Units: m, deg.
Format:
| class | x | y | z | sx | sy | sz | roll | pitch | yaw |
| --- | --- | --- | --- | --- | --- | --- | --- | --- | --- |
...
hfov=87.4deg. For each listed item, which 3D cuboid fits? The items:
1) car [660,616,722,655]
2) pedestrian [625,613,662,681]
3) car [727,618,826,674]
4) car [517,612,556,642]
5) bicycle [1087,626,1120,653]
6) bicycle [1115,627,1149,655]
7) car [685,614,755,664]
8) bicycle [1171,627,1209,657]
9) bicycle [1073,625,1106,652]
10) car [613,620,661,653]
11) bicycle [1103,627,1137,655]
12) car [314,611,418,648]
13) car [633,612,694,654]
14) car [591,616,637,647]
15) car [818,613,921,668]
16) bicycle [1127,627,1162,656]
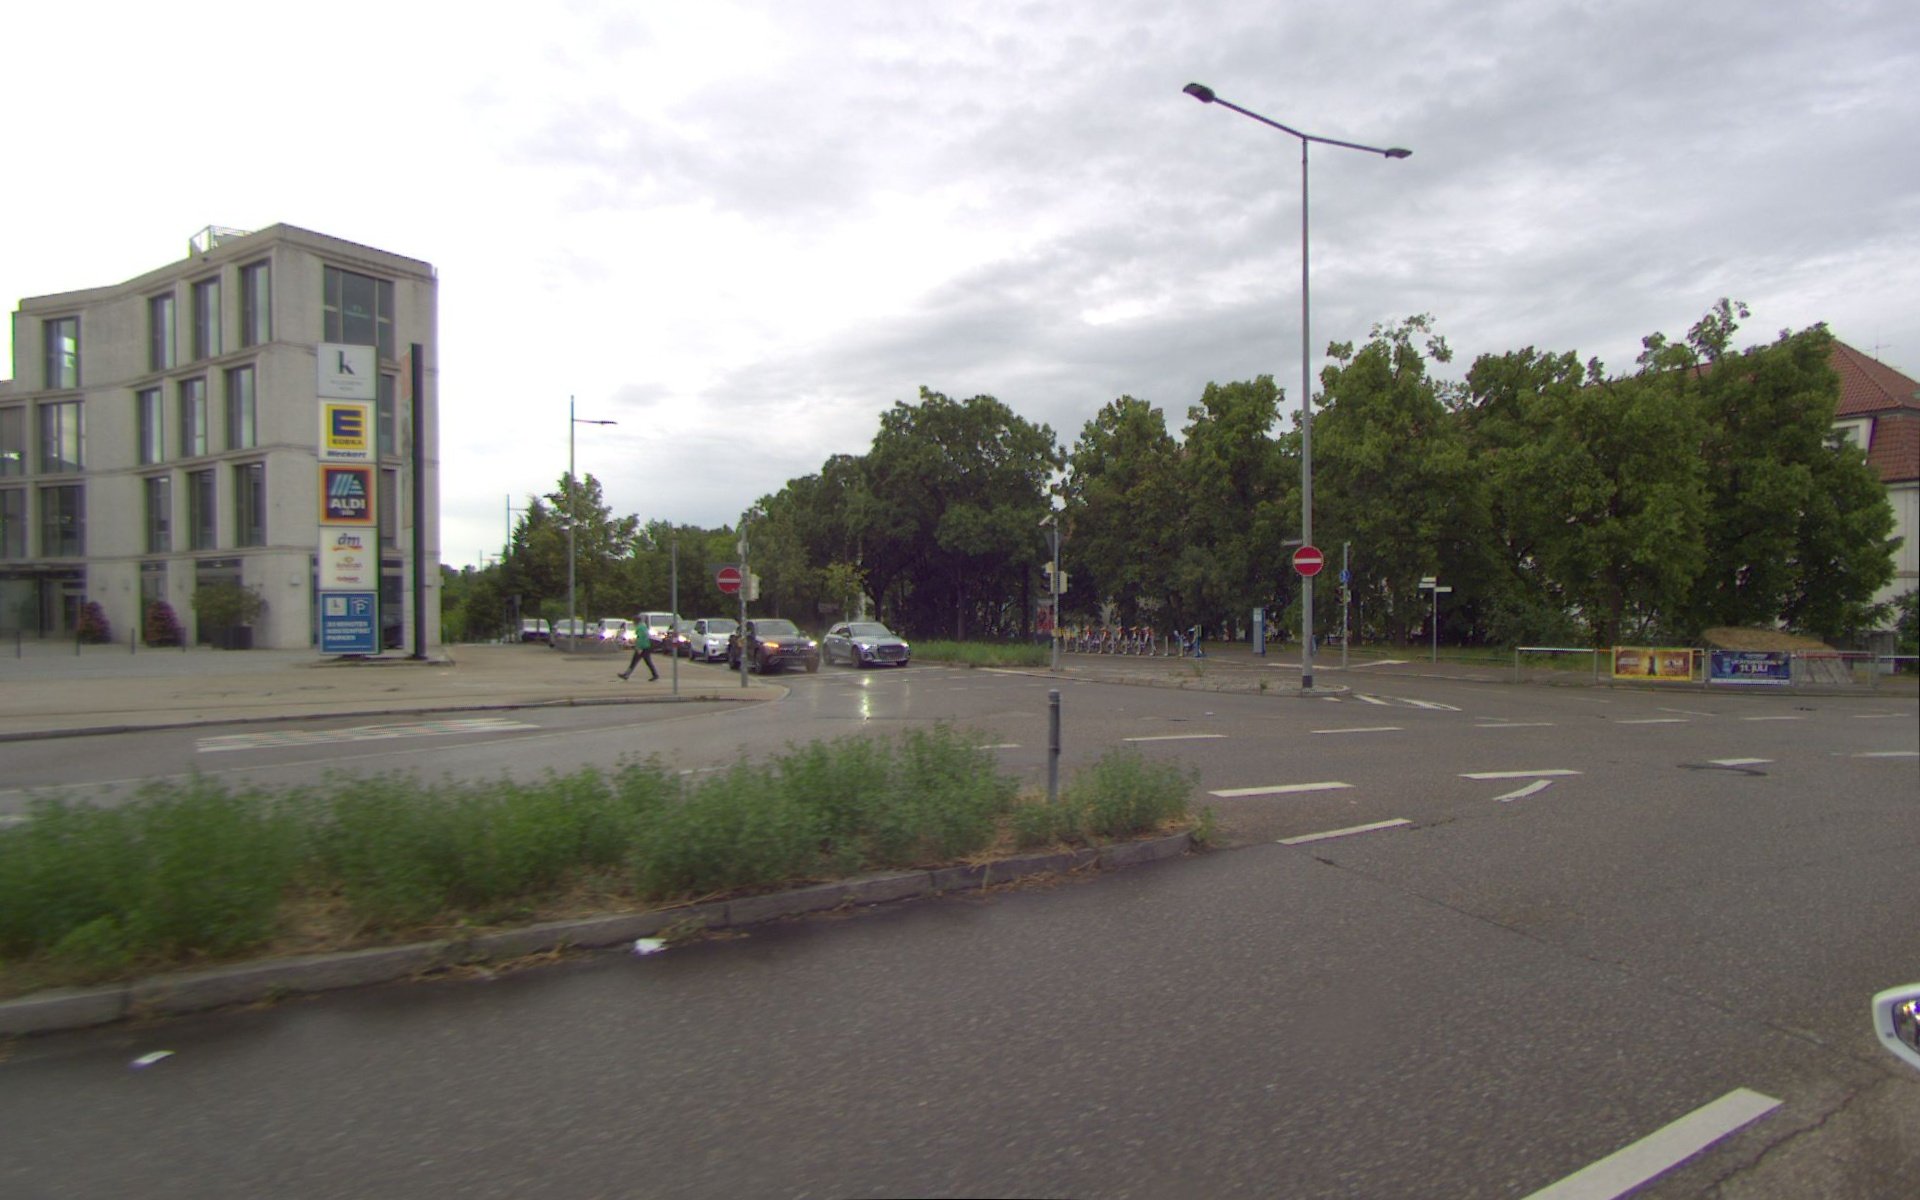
| class | x | y | z | sx | sy | sz | roll | pitch | yaw |
| --- | --- | --- | --- | --- | --- | --- | --- | --- | --- |
| car | -11.434 | 1.469 | 42.543 | 1.699 | 1.480 | 3.721 | -1 | 0 | -29 |
| pedestrian | -8.098 | 1.185 | 25.719 | 0.667 | 1.709 | 0.752 | 1 | -1 | 1 |
| car | -5.838 | 1.385 | 31.612 | 1.809 | 1.540 | 4.031 | -1 | 1 | -30 |
| car | -29.932 | 1.883 | 70.881 | 1.978 | 2.040 | 3.966 | 1 | -1 | -31 |
| bicycle | 6.542 | 1.800 | 45.666 | 1.475 | 1.146 | 0.551 | -3 | 0 | -36 |
| bicycle | 7.554 | 1.801 | 44.048 | 1.475 | 1.146 | 0.551 | -3 | 0 | -36 |
| car | -9.030 | 1.403 | 37.594 | 1.634 | 1.597 | 3.675 | -4 | 2 | -28 |
| bicycle | 9.424 | 1.714 | 41.143 | 1.585 | 1.146 | 0.551 | -3 | 0 | -36 |
| bicycle | 5.995 | 1.788 | 46.463 | 1.475 | 1.146 | 0.551 | -3 | 0 | -36 |
| car | -16.815 | 1.859 | 52.196 | 1.727 | 1.487 | 4.030 | -1 | 0 | -28 |
| bicycle | 7.132 | 1.813 | 44.683 | 1.475 | 1.146 | 0.551 | -3 | 0 | -36 |
| car | -23.923 | 1.177 | 40.526 | 1.542 | 1.395 | 3.286 | 0 | -1 | 35 |
| car | -13.926 | 1.515 | 47.014 | 1.827 | 1.826 | 4.737 | 2 | -1 | -28 |
| car | -20.049 | 1.792 | 58.146 | 1.812 | 1.622 | 4.639 | -1 | 0 | -28 |
| car | -3.068 | 1.307 | 33.331 | 1.833 | 1.596 | 4.131 | 2 | 0 | -30 |
| bicycle | 7.969 | 1.775 | 43.358 | 1.475 | 1.146 | 0.551 | -3 | 0 | -36 |
